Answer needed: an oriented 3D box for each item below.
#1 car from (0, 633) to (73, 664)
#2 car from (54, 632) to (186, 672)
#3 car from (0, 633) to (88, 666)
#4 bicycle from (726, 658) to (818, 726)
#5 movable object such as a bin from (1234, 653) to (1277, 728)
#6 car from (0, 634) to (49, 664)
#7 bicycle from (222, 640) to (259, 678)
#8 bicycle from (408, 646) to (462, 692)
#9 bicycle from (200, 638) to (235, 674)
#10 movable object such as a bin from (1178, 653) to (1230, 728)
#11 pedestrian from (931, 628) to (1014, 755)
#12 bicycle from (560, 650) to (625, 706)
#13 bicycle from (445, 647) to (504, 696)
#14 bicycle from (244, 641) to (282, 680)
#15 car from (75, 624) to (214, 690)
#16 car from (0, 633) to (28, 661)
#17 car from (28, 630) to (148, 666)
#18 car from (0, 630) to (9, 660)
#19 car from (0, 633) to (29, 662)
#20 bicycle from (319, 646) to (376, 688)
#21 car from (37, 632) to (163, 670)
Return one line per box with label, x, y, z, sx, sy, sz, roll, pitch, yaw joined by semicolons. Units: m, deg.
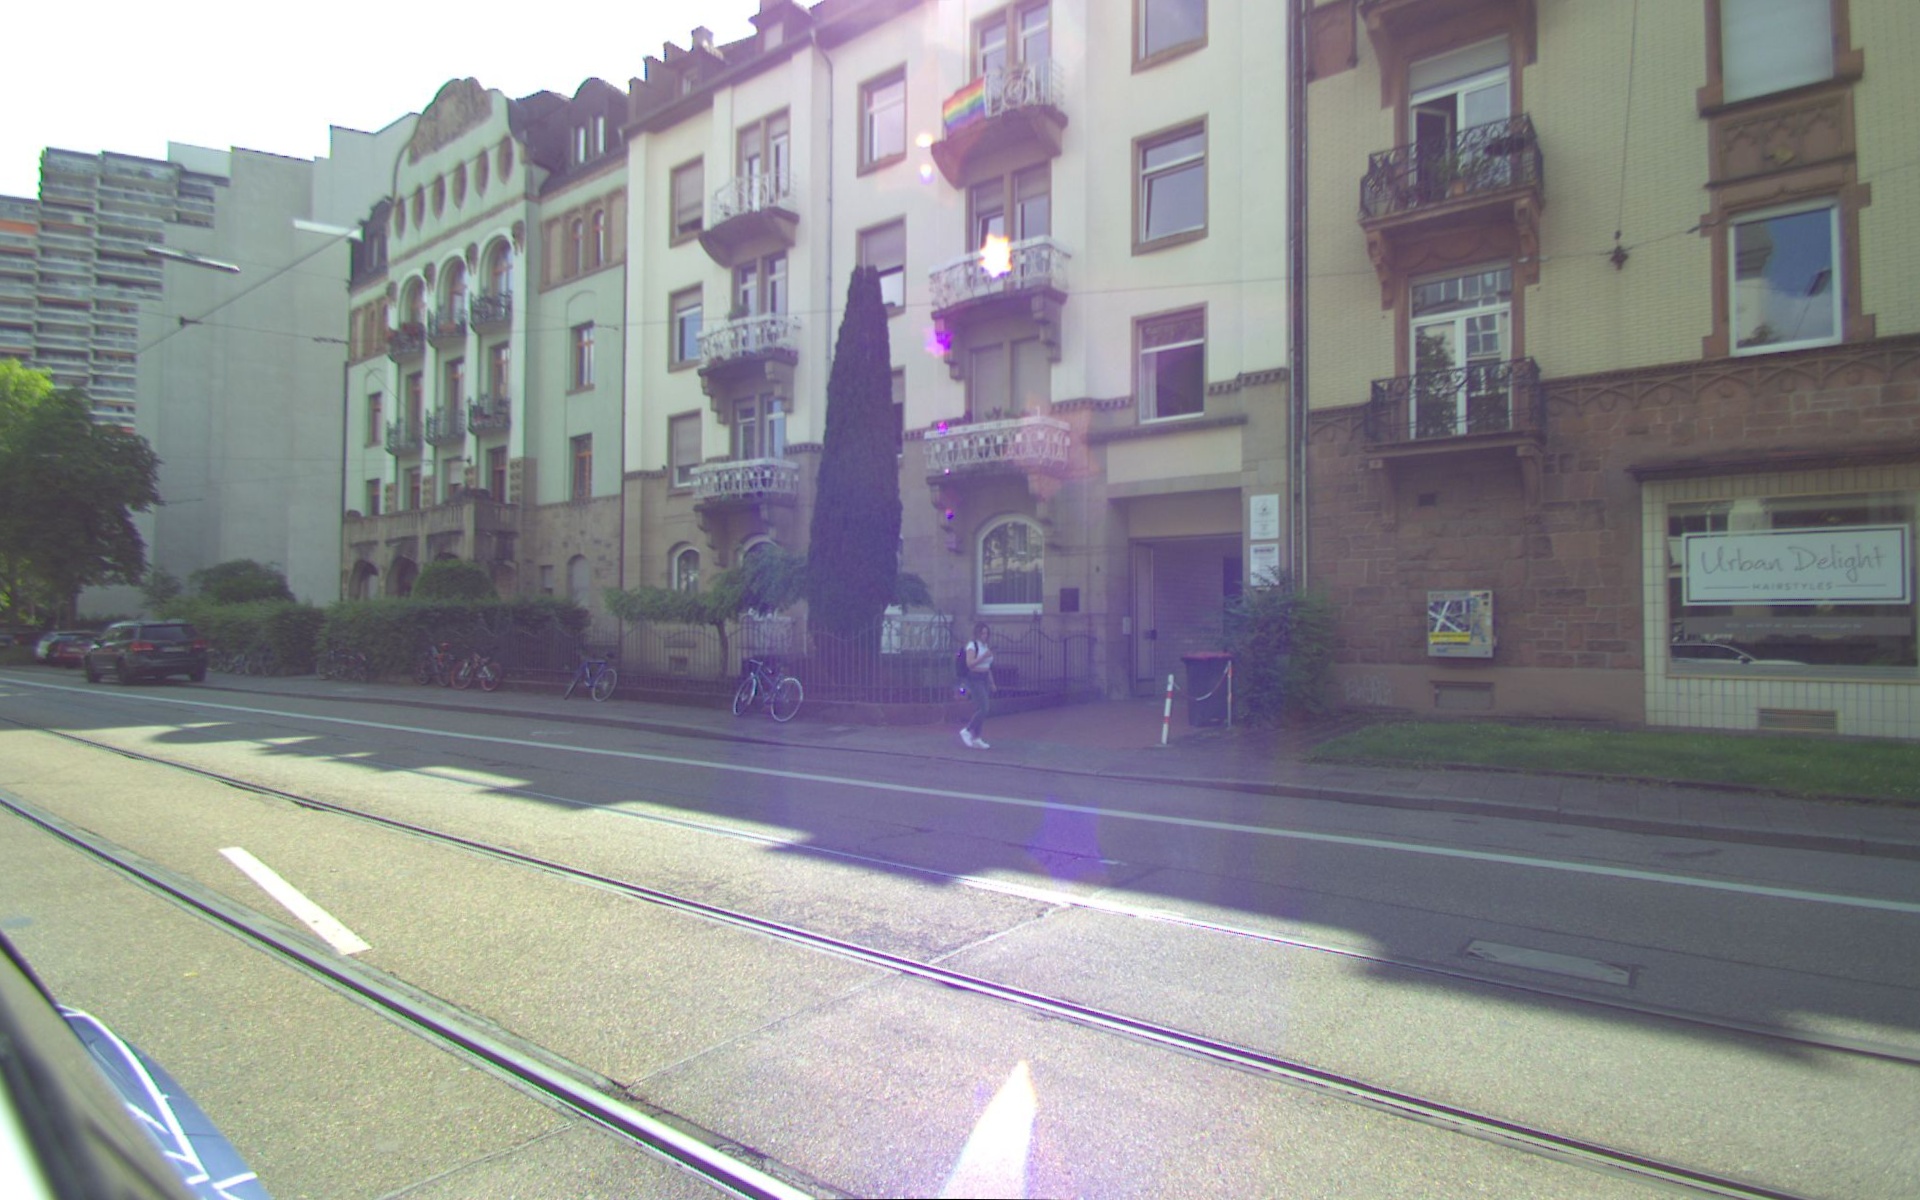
car;-46.439;2.387;49.963;3.938;1.519;2.002;2;-3;-42
car;-33.377;2.037;40.260;3.938;1.519;2.002;2;-3;-42
car;-43.982;2.310;47.986;3.938;1.519;2.002;2;-3;-42
bicycle;-3.058;1.453;16.311;0.461;1.003;1.980;2;-3;-43
movable object such as a bin;4.253;1.293;14.574;0.531;1.037;0.475;0;-2;11
car;-49.122;2.476;51.611;3.938;1.519;2.002;2;-3;-42
bicycle;-22.504;1.819;31.637;1.785;1.144;0.462;-2;-3;40
bicycle;-12.316;1.599;23.718;1.785;1.003;0.462;-2;-3;40
bicycle;-24.159;1.815;32.926;1.785;1.144;0.462;-2;-3;40
movable object such as a bin;3.519;1.297;14.614;0.697;1.037;0.475;0;-2;11
pedestrian;0.165;1.134;12.940;0.764;1.553;0.749;-2;-3;39
bicycle;-7.132;1.485;19.611;0.461;1.003;1.788;2;-3;-45
bicycle;-10.720;1.559;22.306;1.785;1.003;0.462;-2;-3;40
bicycle;-20.978;1.801;30.437;1.785;1.144;0.462;-2;-3;40
car;-22.713;1.542;28.158;4.392;1.708;1.899;-1;-2;36
car;-54.005;2.579;55.693;3.938;1.519;2.002;2;-3;-42
car;-38.669;2.114;44.925;3.938;1.519;2.002;2;-3;-42
car;-56.907;2.558;57.639;3.938;1.695;2.002;2;-3;-42
car;-51.815;2.505;53.391;3.938;1.519;2.002;2;-3;-42
bicycle;-15.611;1.697;25.778;1.979;1.003;0.597;-2;-3;40
car;-36.061;2.119;42.513;3.938;1.519;2.002;2;-3;-42
